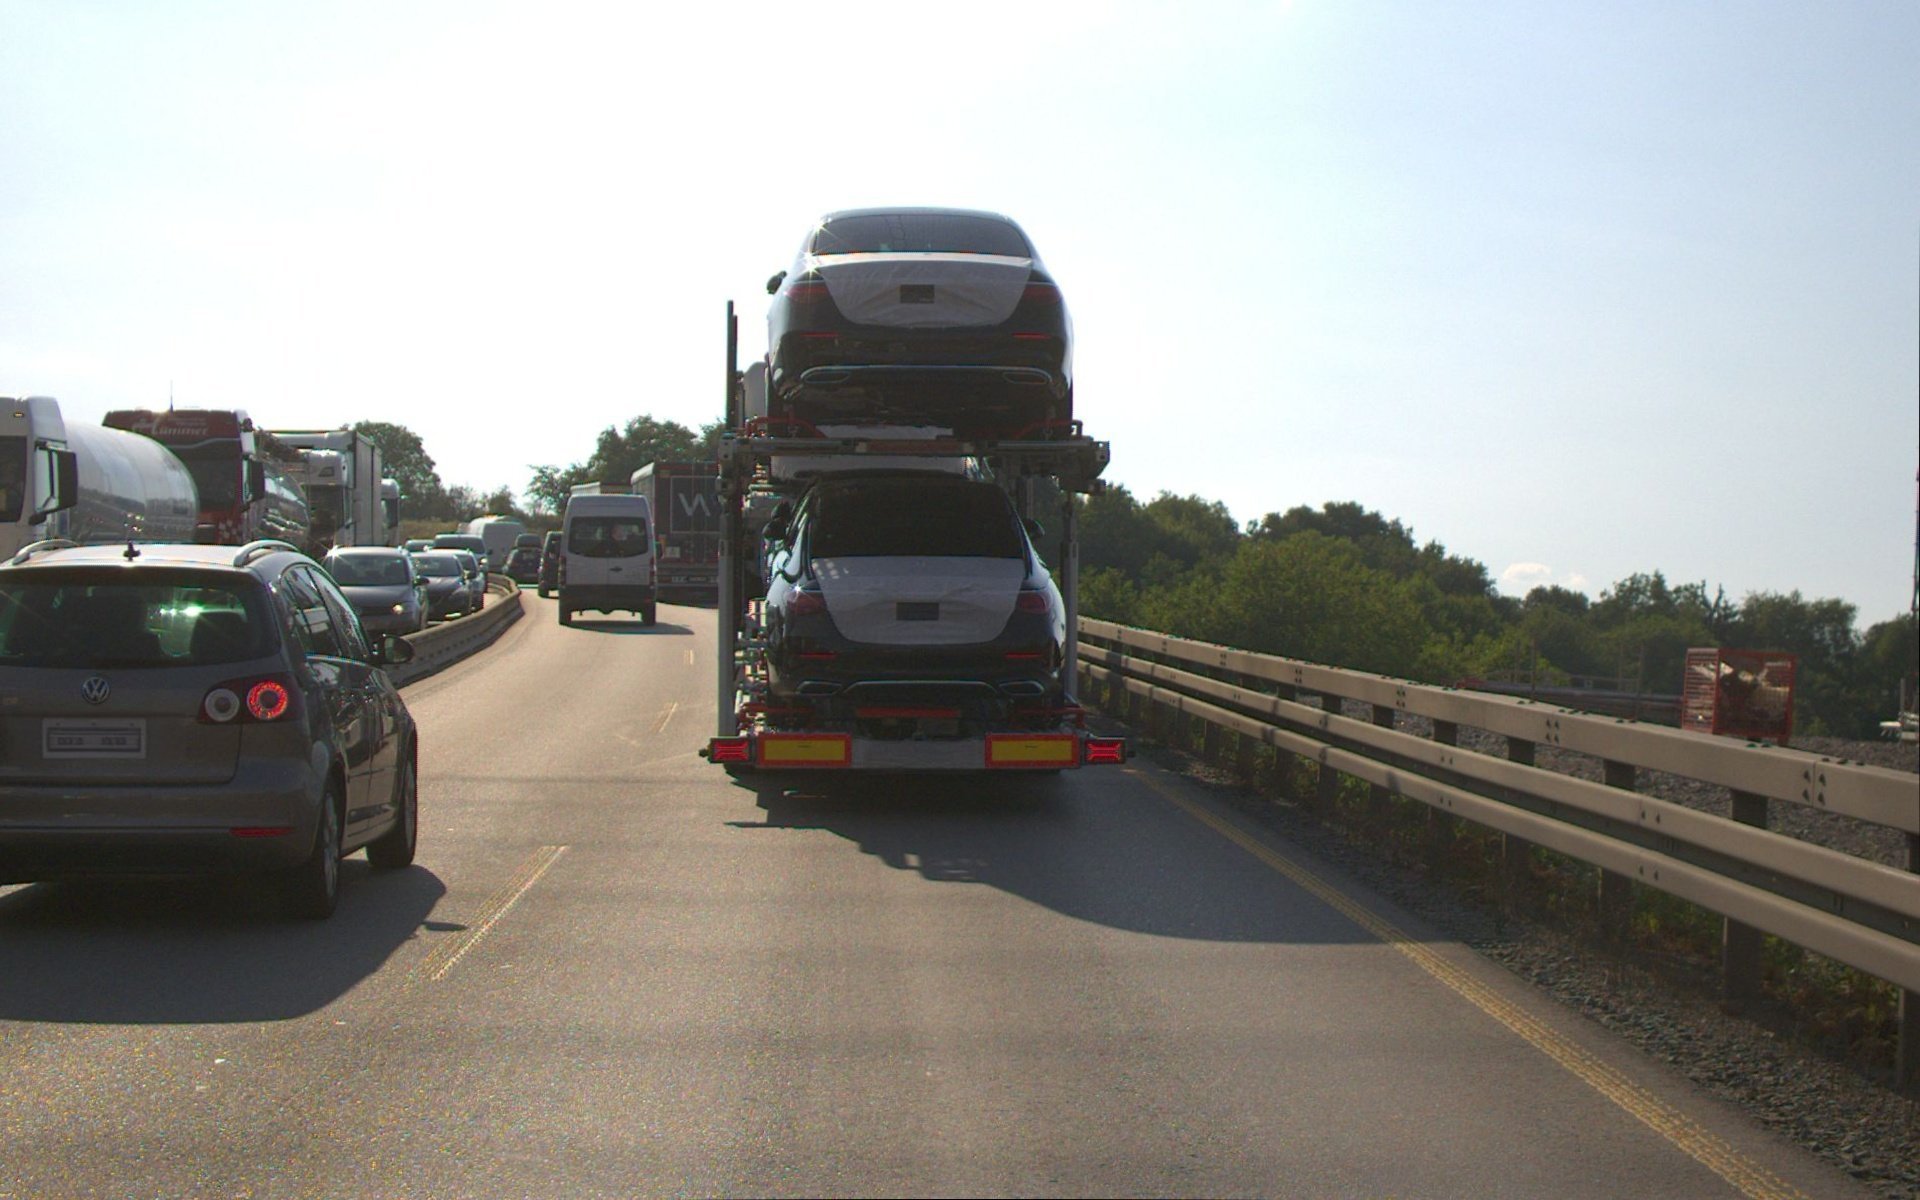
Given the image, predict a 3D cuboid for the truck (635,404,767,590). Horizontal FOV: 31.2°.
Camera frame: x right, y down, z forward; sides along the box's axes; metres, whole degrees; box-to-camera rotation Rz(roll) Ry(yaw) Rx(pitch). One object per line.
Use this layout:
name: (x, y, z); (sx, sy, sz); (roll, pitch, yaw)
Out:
truck: (-7.809, -2.982, 102.516); (3.285, 5.219, 9.938); (1, 1, -8)

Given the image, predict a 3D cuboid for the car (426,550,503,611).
car: (-11.908, -0.485, 82.757); (1.627, 1.421, 4.658); (1, 1, -6)

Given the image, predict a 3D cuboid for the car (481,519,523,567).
car: (-19.744, -2.434, 148.143); (1.629, 2.007, 4.001); (1, 1, -10)

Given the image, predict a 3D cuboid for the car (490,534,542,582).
car: (-16.819, -1.576, 130.388); (1.826, 1.766, 4.001); (1, 1, -6)

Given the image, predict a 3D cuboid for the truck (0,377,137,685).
truck: (-11.389, -0.796, 40.329); (2.413, 3.358, 5.618); (1, 1, -4)

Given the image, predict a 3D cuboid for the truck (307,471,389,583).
truck: (-21.137, -2.487, 118.912); (2.600, 3.741, 6.519); (1, 1, -9)

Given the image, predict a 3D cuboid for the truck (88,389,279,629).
truck: (-12.853, -1.471, 57.275); (2.432, 3.772, 5.618); (1, 0, -6)

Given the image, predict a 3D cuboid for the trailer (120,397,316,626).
trailer: (-13.433, -1.533, 63.081); (2.306, 3.777, 12.055); (1, 1, -7)

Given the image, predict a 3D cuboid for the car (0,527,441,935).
car: (-3.452, 0.493, 15.502); (1.691, 1.590, 4.000); (1, 1, -1)

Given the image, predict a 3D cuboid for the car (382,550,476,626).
car: (-10.347, -0.252, 67.223); (1.627, 1.421, 4.389); (1, 1, -7)

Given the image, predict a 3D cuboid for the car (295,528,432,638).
car: (-8.983, -0.266, 51.987); (1.750, 1.581, 3.943); (1, 1, -6)

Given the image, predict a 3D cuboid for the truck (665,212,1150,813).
truck: (-0.532, -0.563, 25.448); (2.799, 3.485, 10.606); (1, 1, -2)

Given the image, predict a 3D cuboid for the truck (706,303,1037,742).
truck: (-1.008, -0.720, 34.913); (2.837, 3.779, 9.988); (1, 1, -3)

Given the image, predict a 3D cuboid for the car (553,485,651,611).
car: (-7.389, -1.055, 71.054); (1.920, 2.484, 5.410); (1, 1, -6)

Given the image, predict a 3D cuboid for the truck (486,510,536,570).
truck: (-24.325, -3.225, 186.042); (2.590, 3.159, 6.678); (1, 1, -8)

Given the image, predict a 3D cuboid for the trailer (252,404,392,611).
trailer: (-14.293, -2.001, 77.620); (2.475, 4.314, 10.513); (1, 1, -7)

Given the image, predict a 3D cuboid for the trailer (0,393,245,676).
trailer: (-11.792, -0.850, 46.857); (2.306, 3.350, 12.054); (1, 1, -4)

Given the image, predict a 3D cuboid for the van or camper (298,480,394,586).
van or camper: (-17.587, -1.889, 98.715); (2.407, 2.881, 7.620); (1, 1, -8)

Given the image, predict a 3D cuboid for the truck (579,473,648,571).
truck: (-13.414, -2.967, 133.403); (2.530, 3.635, 8.907); (1, 1, -5)

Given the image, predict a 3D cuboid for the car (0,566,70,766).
car: (-7.434, 0.443, 24.018); (1.607, 1.371, 3.901); (1, 1, -3)
